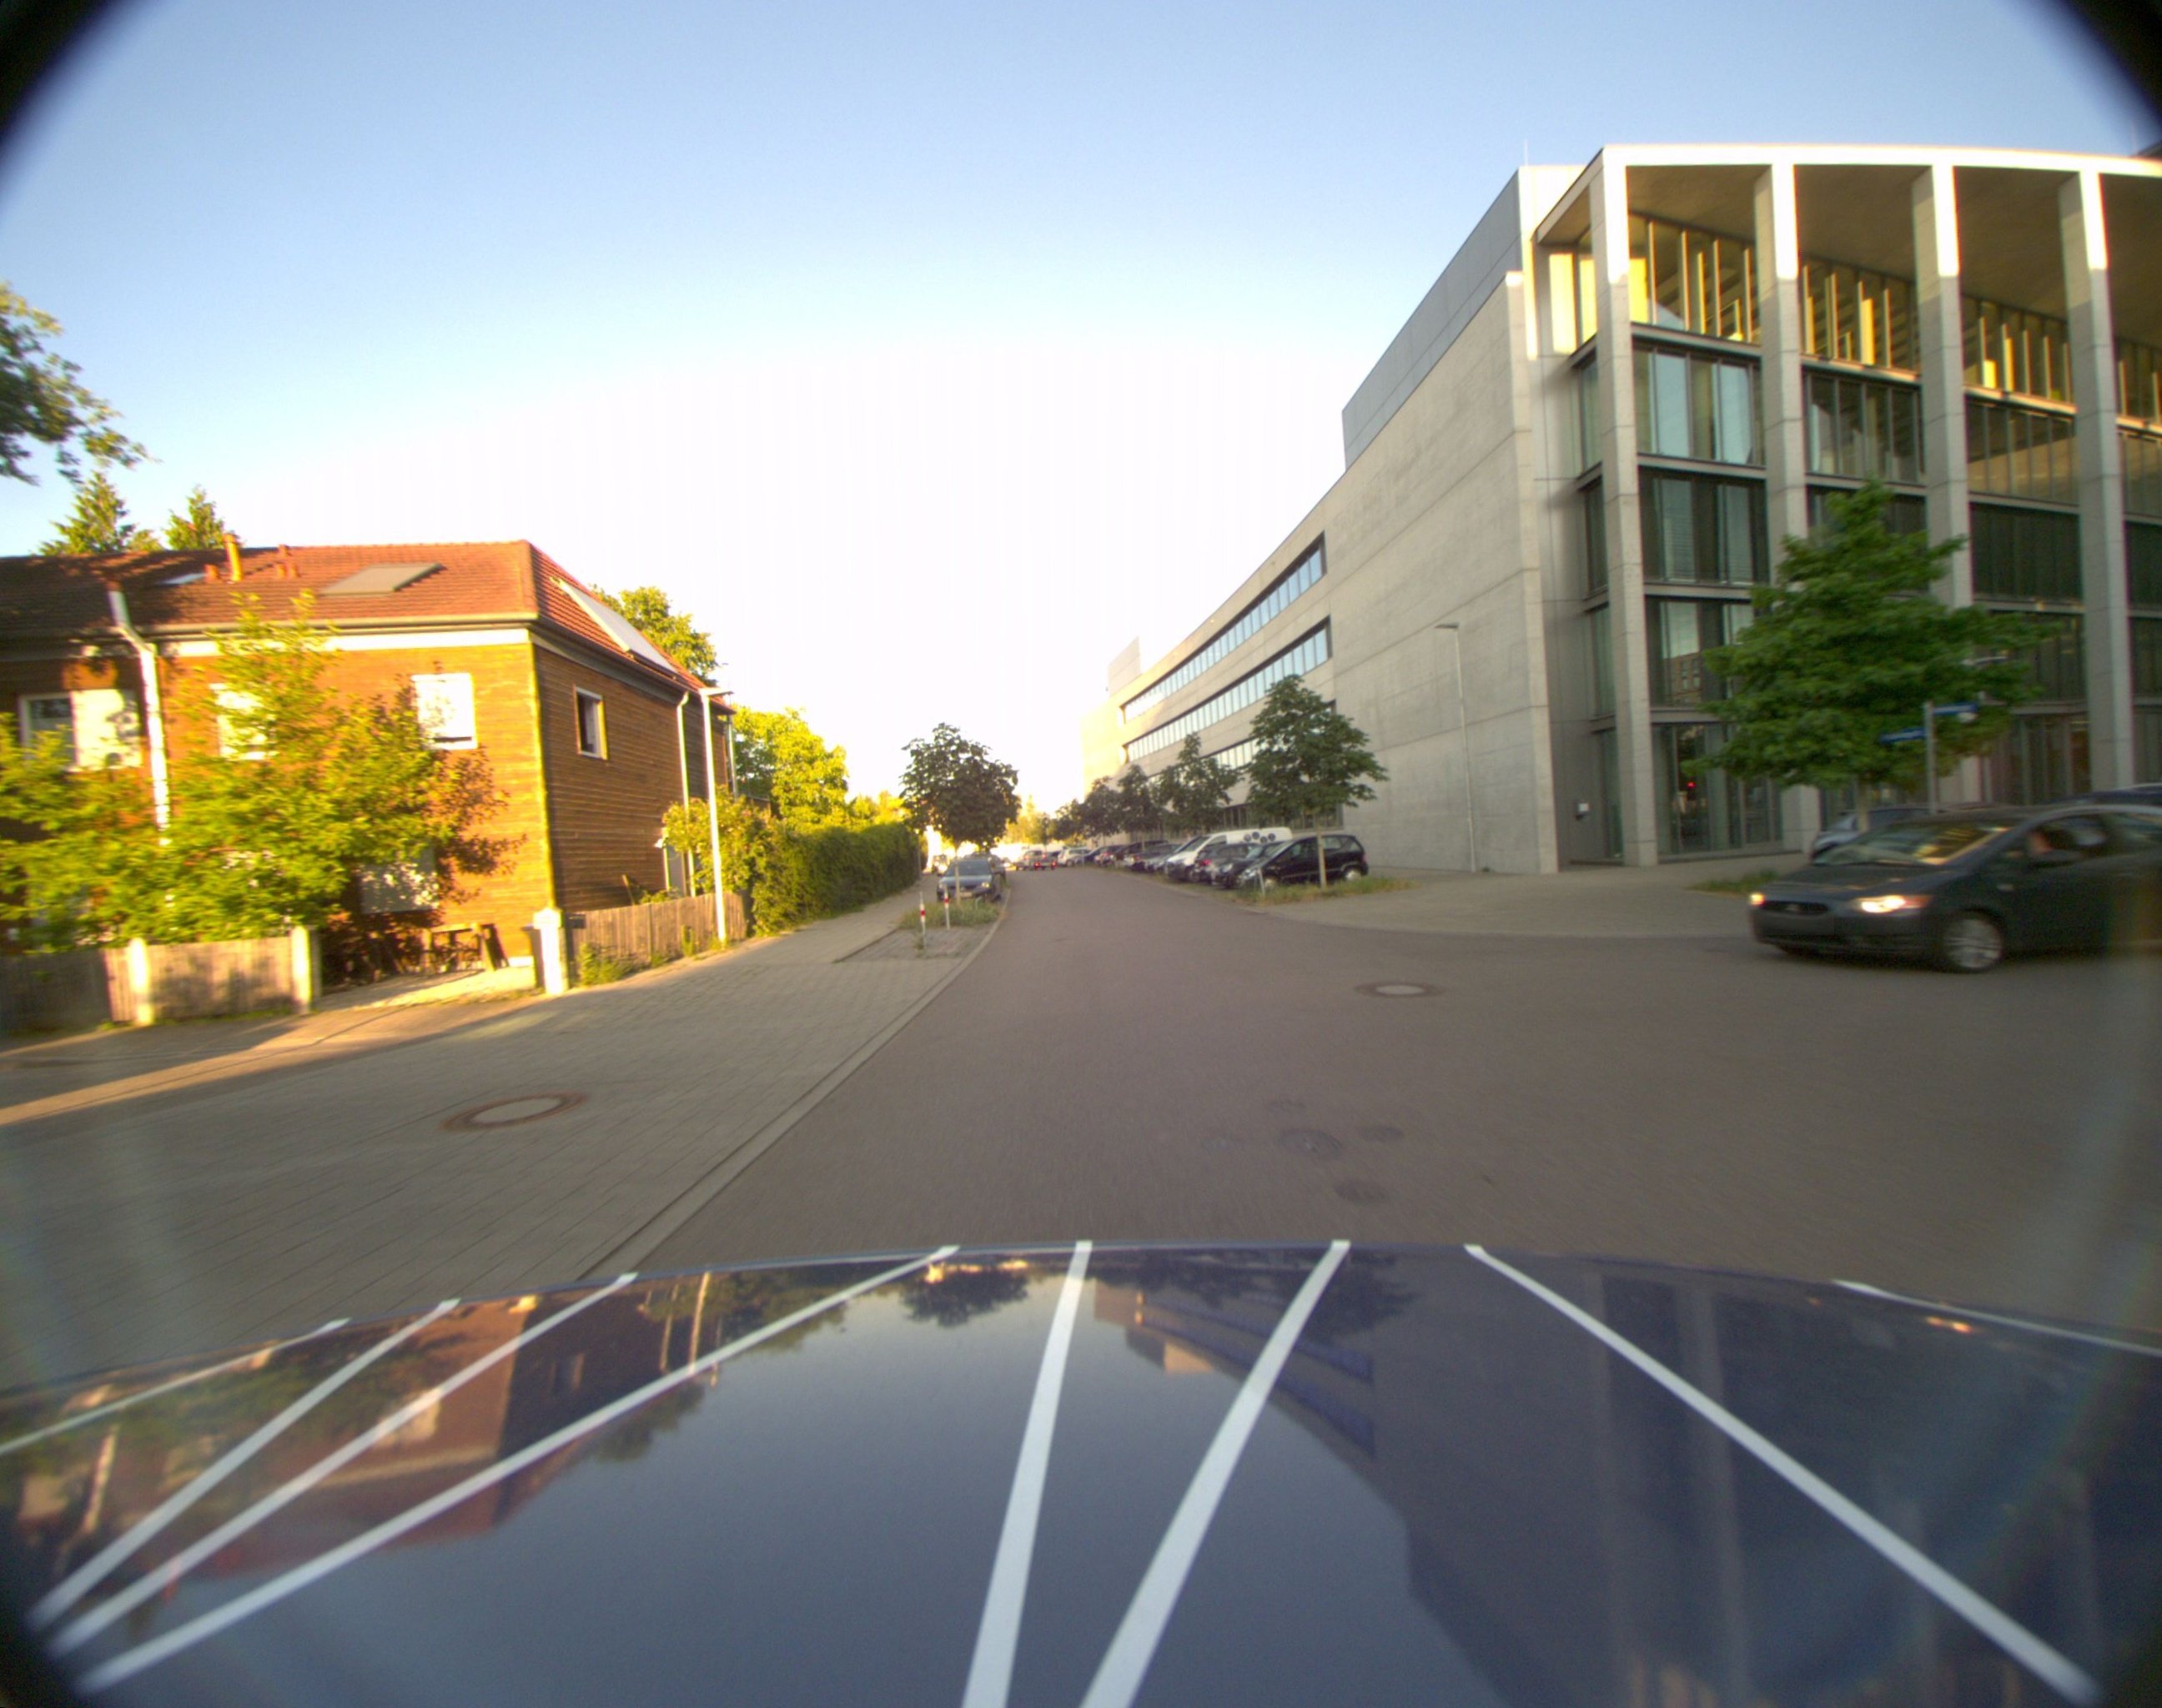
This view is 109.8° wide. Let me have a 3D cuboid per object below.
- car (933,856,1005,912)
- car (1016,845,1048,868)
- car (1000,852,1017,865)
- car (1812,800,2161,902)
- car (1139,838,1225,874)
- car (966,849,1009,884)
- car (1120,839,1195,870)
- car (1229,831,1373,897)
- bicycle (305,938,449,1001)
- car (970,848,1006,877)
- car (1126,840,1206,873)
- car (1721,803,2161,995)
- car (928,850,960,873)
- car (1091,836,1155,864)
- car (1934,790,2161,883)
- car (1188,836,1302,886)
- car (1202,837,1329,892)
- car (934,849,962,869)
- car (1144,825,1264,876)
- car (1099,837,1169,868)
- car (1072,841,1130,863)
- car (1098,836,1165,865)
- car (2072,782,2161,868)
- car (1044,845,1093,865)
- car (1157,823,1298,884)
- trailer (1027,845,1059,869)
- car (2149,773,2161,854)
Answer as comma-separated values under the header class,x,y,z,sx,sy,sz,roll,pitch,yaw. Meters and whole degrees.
class,x,y,z,sx,sy,sz,roll,pitch,yaw
car,-3.418,0.870,23.917,1.681,1.454,4.367,-3,1,-2
car,-3.844,0.219,59.095,1.765,1.611,4.774,-3,1,-11
car,-8.811,0.533,92.129,1.799,1.340,4.026,-6,1,-6
car,15.139,-0.119,12.843,1.649,1.378,3.815,-4,2,-6
car,4.942,0.097,37.464,3.813,1.353,1.798,-6,1,-6
car,-4.374,0.537,36.090,1.771,1.454,4.365,-3,1,-5
car,4.249,0.003,42.689,3.813,1.353,1.798,-6,1,-6
car,6.448,0.261,22.557,3.655,1.538,1.725,-6,1,0
bicycle,-11.115,1.820,12.026,1.700,0.793,0.566,-4,1,1
car,-5.155,0.458,42.636,1.771,1.454,4.365,-3,1,-5
car,4.442,0.102,40.231,3.813,1.353,1.798,-6,1,-6
car,8.953,0.364,7.619,3.735,1.487,1.648,-4,1,-4
car,-9.651,0.478,53.913,1.771,1.454,4.365,-3,1,-5
car,2.934,-0.297,53.337,4.029,1.574,1.798,-6,1,-11
car,17.648,-0.331,12.990,1.561,1.421,3.900,-4,2,-6
car,5.947,0.245,27.777,3.655,1.416,1.725,-6,1,-1
car,6.030,0.318,25.134,3.655,1.416,1.725,-6,1,0
car,-10.704,0.397,61.338,1.771,1.454,4.365,-3,1,-5
car,5.696,-0.158,35.412,5.083,1.817,1.888,-6,1,-6
car,3.351,-0.078,48.328,4.029,1.574,1.798,-6,1,-11
car,1.495,-0.156,58.169,4.029,1.340,1.798,-6,1,-11
car,3.362,-0.238,51.130,4.029,1.574,1.798,-6,1,-11
car,20.004,-0.515,12.570,1.649,1.484,4.133,-4,2,-6
car,-1.165,0.080,68.479,4.029,1.340,1.798,-6,1,-11
car,5.793,-0.047,30.446,5.083,1.870,1.888,-6,1,-6
trailer,-2.753,0.197,54.960,1.701,1.611,3.760,-3,1,-11
car,22.631,-0.795,13.394,1.649,1.619,4.133,-4,2,-6
